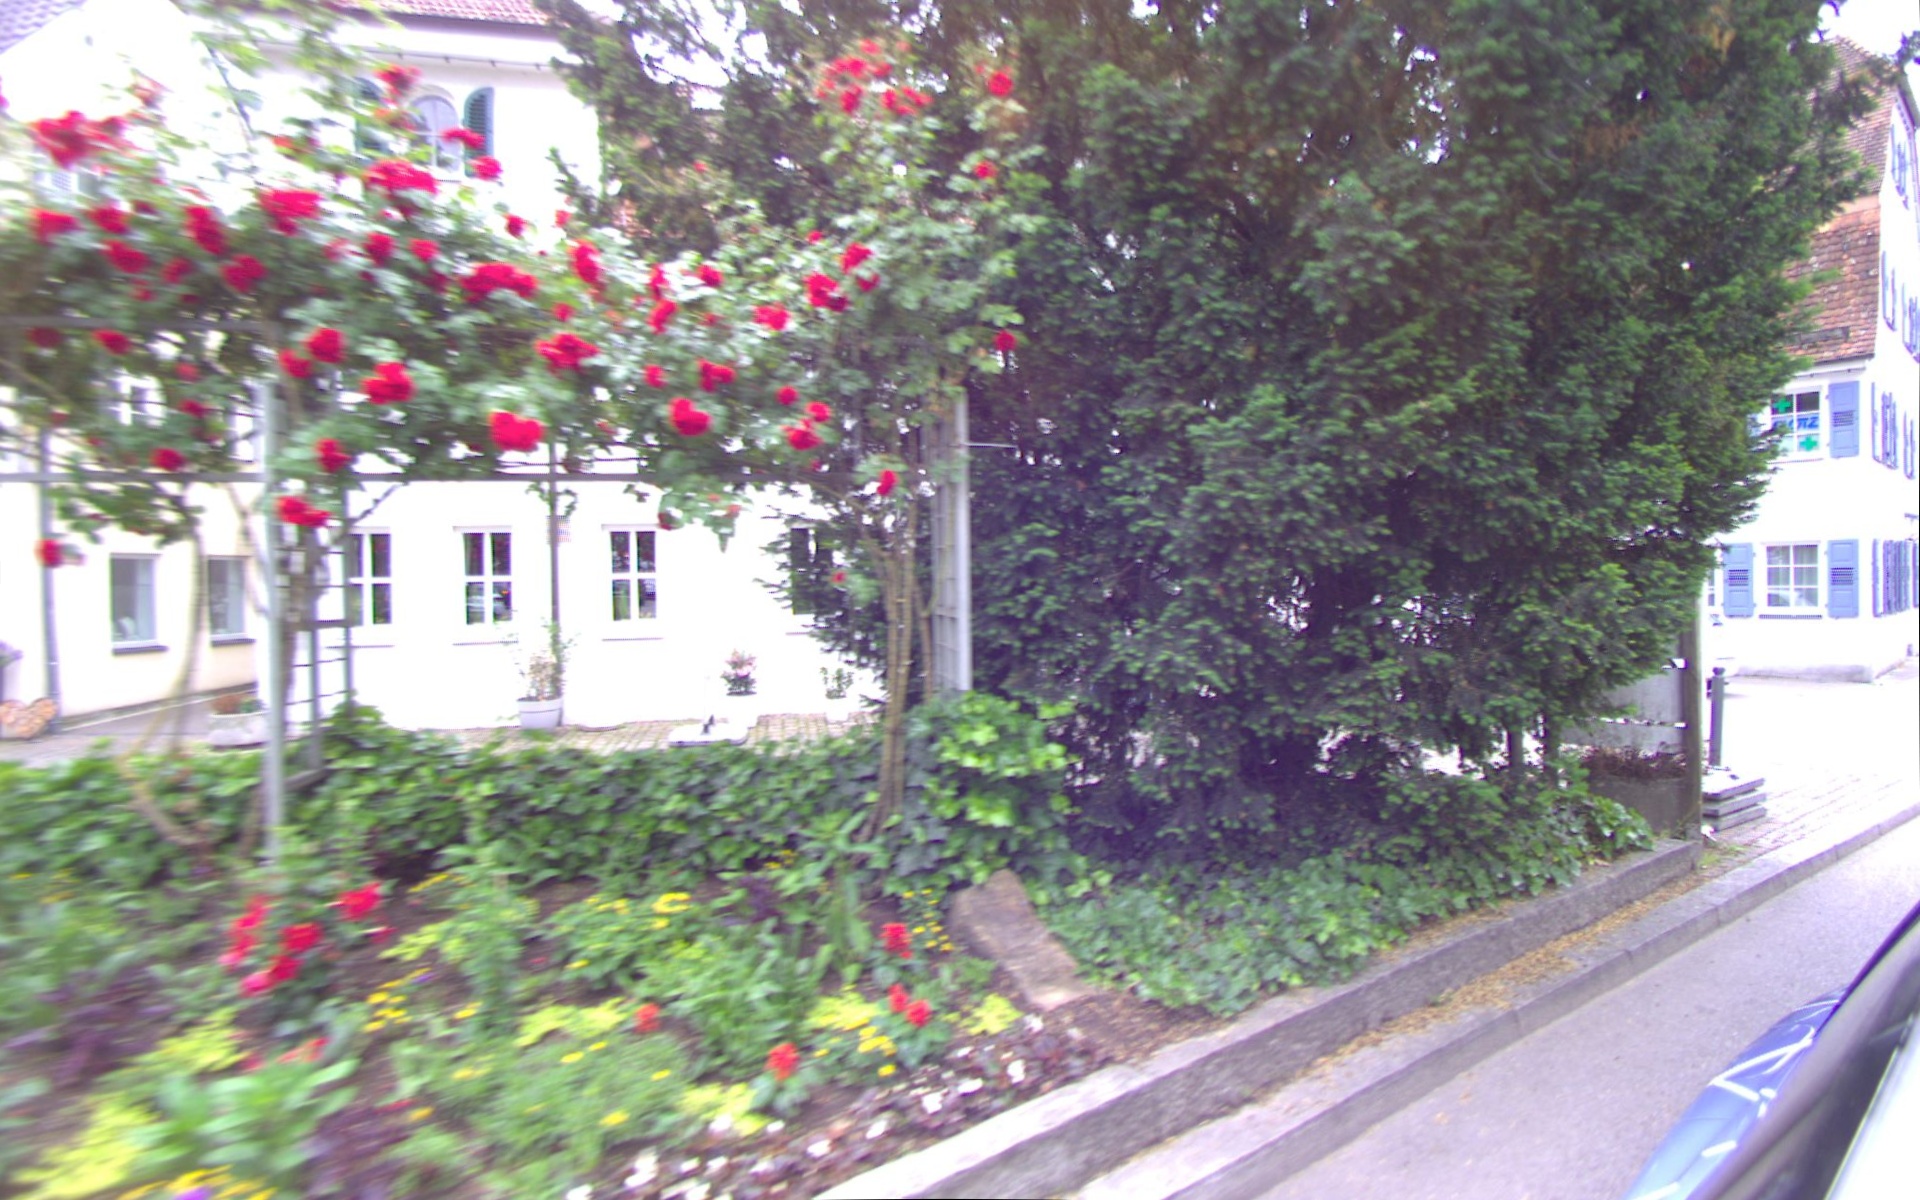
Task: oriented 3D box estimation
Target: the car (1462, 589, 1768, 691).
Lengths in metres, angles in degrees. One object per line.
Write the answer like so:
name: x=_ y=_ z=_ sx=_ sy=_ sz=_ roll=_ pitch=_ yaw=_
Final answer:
car: x=10.582 y=0.554 z=16.607 sx=1.860 sy=1.436 sz=3.807 roll=-1 pitch=1 yaw=-32
